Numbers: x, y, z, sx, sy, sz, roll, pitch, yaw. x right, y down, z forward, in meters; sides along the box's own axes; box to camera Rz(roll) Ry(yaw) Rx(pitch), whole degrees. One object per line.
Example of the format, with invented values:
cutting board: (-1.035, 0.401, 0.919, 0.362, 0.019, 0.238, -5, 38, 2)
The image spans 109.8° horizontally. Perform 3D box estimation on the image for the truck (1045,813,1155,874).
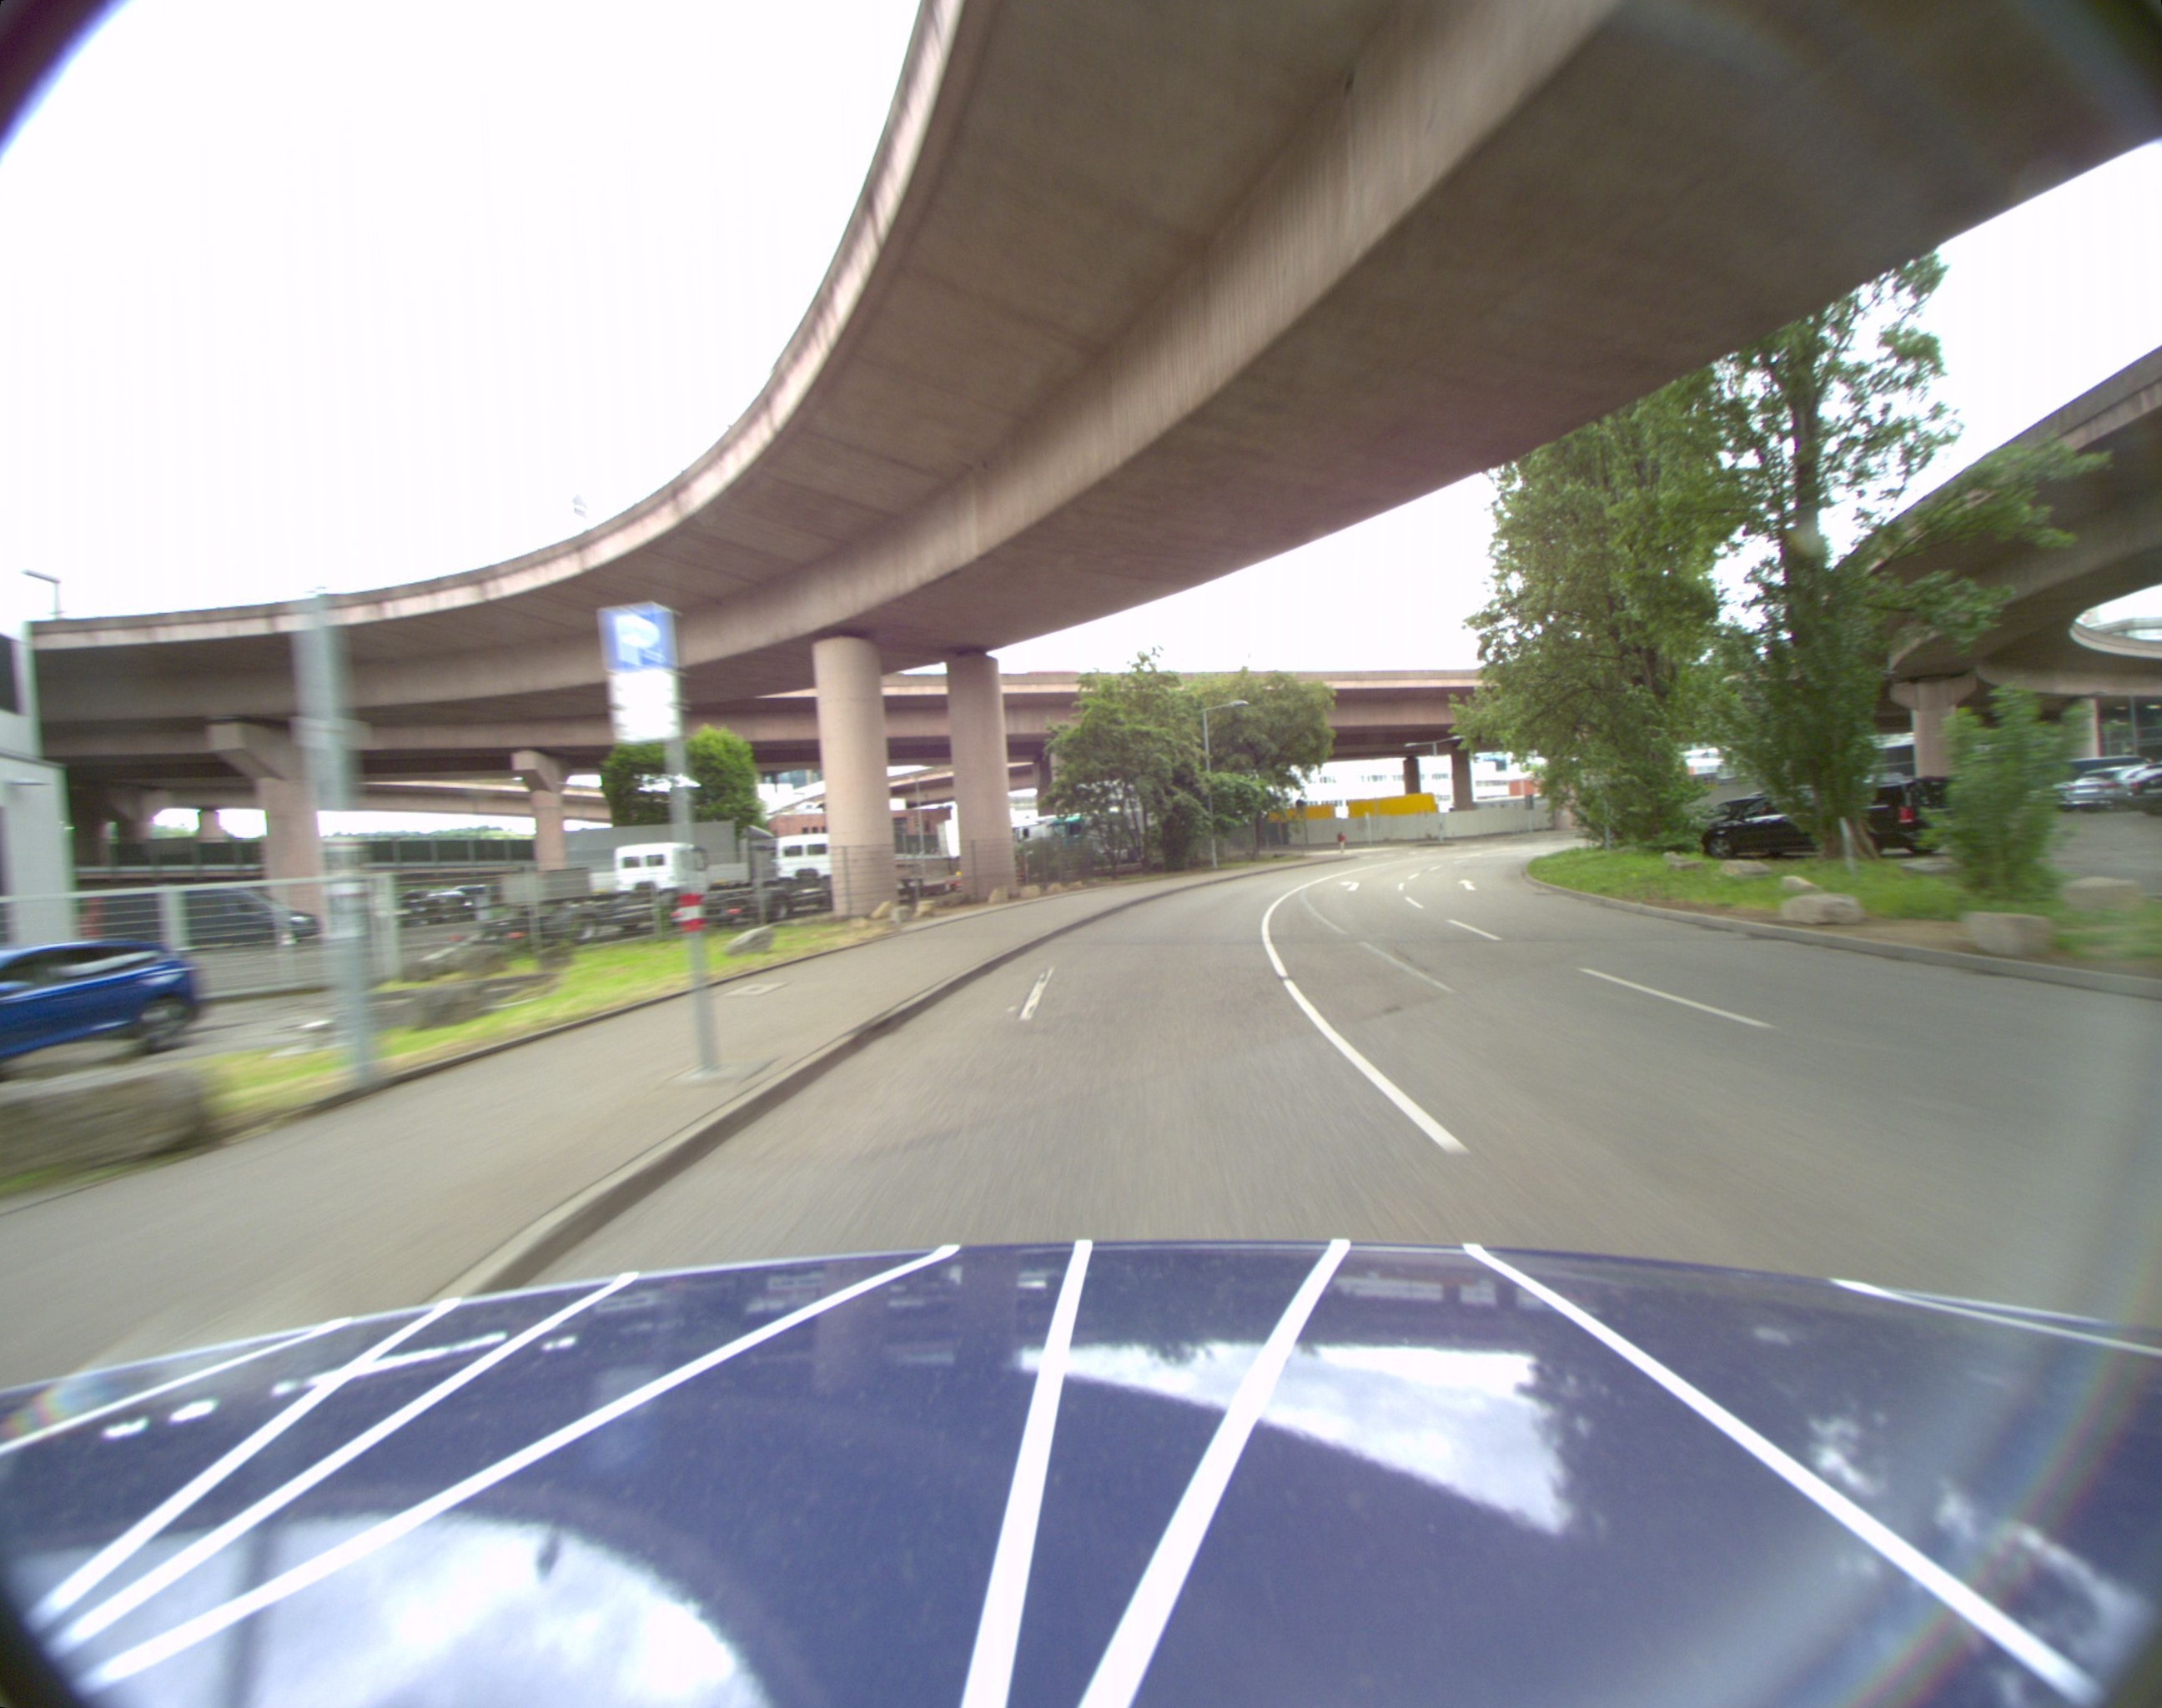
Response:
truck: (1.232, -0.713, 47.660, 6.420, 3.389, 2.266, -4, 2, -28)

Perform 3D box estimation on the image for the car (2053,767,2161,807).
car: (38.549, -2.504, 28.453, 2.977, 1.228, 1.396, -4, 2, -9)

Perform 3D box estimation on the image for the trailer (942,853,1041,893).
trailer: (-3.614, 0.752, 31.629, 1.601, 1.324, 4.389, -2, 2, 33)

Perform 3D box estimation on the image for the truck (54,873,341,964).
truck: (-35.928, 2.512, 31.375, 6.938, 2.915, 3.044, -4, 0, -28)

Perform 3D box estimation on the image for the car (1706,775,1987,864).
car: (19.462, -0.814, 19.734, 1.857, 1.906, 4.969, -4, 1, -8)

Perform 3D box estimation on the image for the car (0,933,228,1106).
car: (-12.865, 1.996, 8.700, 1.776, 1.625, 4.679, -4, 0, -15)

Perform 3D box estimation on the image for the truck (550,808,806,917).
truck: (-19.092, 0.285, 36.579, 10.149, 4.340, 3.905, -4, 0, -32)

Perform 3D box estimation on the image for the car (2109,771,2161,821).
car: (34.538, -1.893, 23.794, 2.976, 1.478, 1.319, -4, 2, -2)

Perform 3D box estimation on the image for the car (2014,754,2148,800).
car: (47.645, -3.617, 36.285, 3.536, 1.789, 1.644, -3, 2, 18)

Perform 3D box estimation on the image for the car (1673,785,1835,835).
car: (25.923, -1.631, 29.524, 1.696, 1.665, 4.673, -4, 2, -8)

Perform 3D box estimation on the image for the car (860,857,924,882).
car: (-15.318, 1.235, 61.953, 4.875, 1.696, 2.093, -4, 0, -13)

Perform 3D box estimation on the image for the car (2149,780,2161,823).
car: (32.614, -1.595, 21.288, 2.972, 1.228, 1.320, -4, 2, 13)

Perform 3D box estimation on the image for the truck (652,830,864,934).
truck: (-9.962, 0.720, 24.513, 2.421, 2.728, 7.241, -4, 1, 11)

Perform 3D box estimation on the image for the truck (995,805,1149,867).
truck: (-0.425, -1.265, 50.388, 10.229, 3.479, 2.265, -4, 2, -31)

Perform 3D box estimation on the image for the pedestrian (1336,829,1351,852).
pedestrian: (19.752, -0.990, 57.141, 0.752, 1.671, 0.856, -2, 2, 36)

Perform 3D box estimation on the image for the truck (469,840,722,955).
truck: (-14.215, 1.116, 22.931, 2.454, 2.869, 6.125, -4, 1, 17)

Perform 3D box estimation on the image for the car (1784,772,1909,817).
car: (47.513, -3.651, 47.389, 1.828, 2.566, 5.682, -2, 3, -3)
